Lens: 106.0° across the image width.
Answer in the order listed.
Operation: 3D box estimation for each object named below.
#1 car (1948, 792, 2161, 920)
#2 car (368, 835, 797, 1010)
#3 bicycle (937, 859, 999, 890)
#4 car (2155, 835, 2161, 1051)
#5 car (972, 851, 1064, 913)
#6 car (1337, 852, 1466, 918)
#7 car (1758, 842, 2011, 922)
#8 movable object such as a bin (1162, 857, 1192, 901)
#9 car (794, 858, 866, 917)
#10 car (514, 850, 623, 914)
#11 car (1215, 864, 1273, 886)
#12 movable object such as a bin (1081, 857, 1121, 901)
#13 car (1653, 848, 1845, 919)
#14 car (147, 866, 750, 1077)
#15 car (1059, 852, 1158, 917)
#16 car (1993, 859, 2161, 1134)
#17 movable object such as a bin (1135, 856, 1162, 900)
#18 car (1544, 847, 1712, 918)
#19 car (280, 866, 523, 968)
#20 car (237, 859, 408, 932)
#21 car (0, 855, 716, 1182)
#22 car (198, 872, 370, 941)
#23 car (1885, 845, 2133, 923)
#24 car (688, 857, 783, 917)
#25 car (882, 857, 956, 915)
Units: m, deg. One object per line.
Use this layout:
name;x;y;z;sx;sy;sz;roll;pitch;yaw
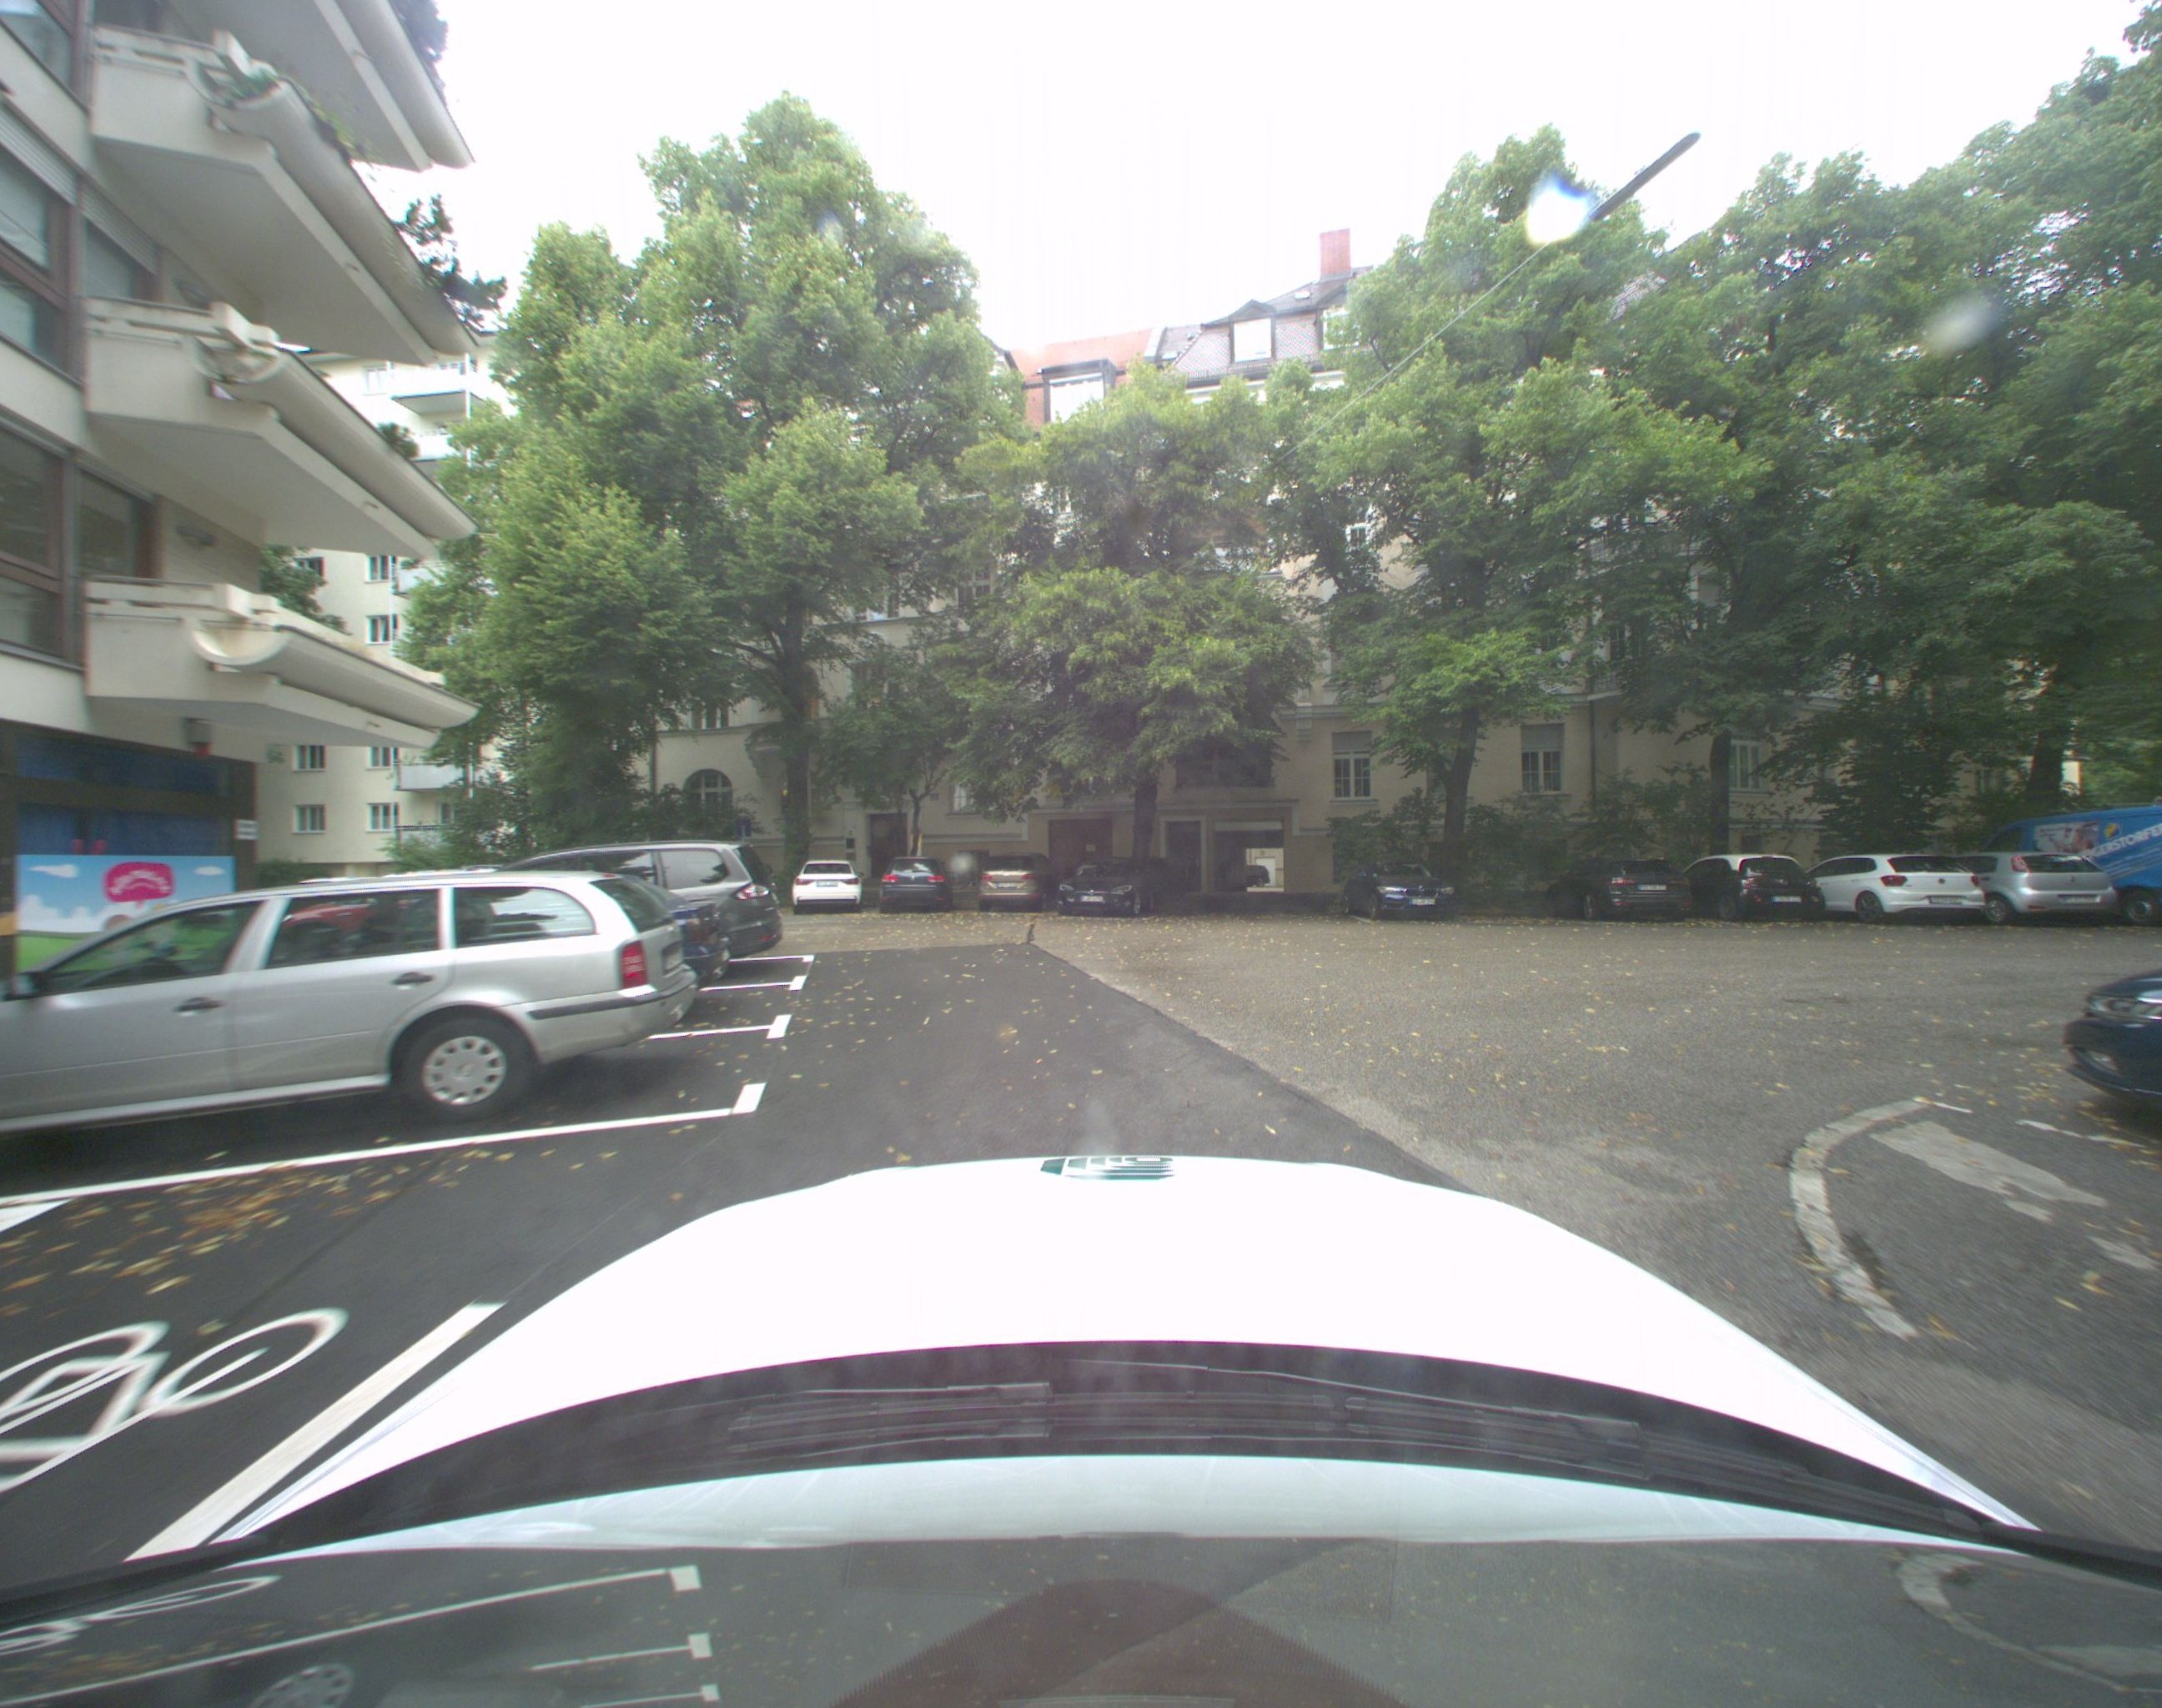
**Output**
car;21.286;0.111;16.680;2.045;2.355;5.513;0;-2;13
car;-5.906;0.720;10.336;4.233;1.683;1.890;-3;1;-19
bicycle;-4.256;0.764;30.667;2.214;1.115;0.578;0;0;11
car;9.317;0.619;4.386;1.758;1.555;3.955;0;0;-22
car;-1.626;0.713;22.461;1.830;1.530;4.031;0;0;5
car;7.448;0.702;19.388;1.829;1.383;4.350;-1;-1;7
car;17.021;0.683;17.609;1.786;1.514;4.298;-1;-4;11
movable object such as a bin;3.024;0.774;25.570;0.857;1.305;1.436;1;0;9
car;-6.845;0.851;22.538;1.721;1.431;3.980;0;0;-15
car;-14.242;0.711;22.865;1.705;1.601;3.974;0;0;-19
car;11.280;1.440;56.646;3.825;1.518;1.659;0;0;5
movable object such as a bin;0.642;0.786;26.169;1.143;1.348;1.159;0;1;8
car;14.798;0.720;18.336;1.815;1.426;3.761;-1;-4;13
car;-5.427;0.920;7.682;4.070;1.367;1.707;-3;1;-18
car;0.819;0.764;20.795;1.692;1.467;4.303;1;-2;13
car;7.152;0.715;3.012;1.964;1.377;4.692;0;0;-27
movable object such as a bin;2.173;0.749;25.954;0.708;1.348;1.377;-1;0;11
car;12.136;0.667;18.419;1.844;1.426;4.178;-1;-3;15
car;-12.363;1.070;15.071;3.313;1.631;1.493;0;0;-37
car;-19.042;0.956;20.689;1.705;1.601;3.974;0;0;-19
car;-4.800;0.865;5.208;4.240;1.455;1.711;-4;1;-18
car;-22.505;1.403;23.227;1.738;1.601;3.979;-3;1;-16
car;19.010;0.608;16.941;1.627;1.433;3.566;0;-2;13
car;-9.621;0.861;22.975;1.872;1.510;3.980;0;0;-15
car;-4.369;0.794;22.233;1.791;1.431;3.986;0;0;-10
